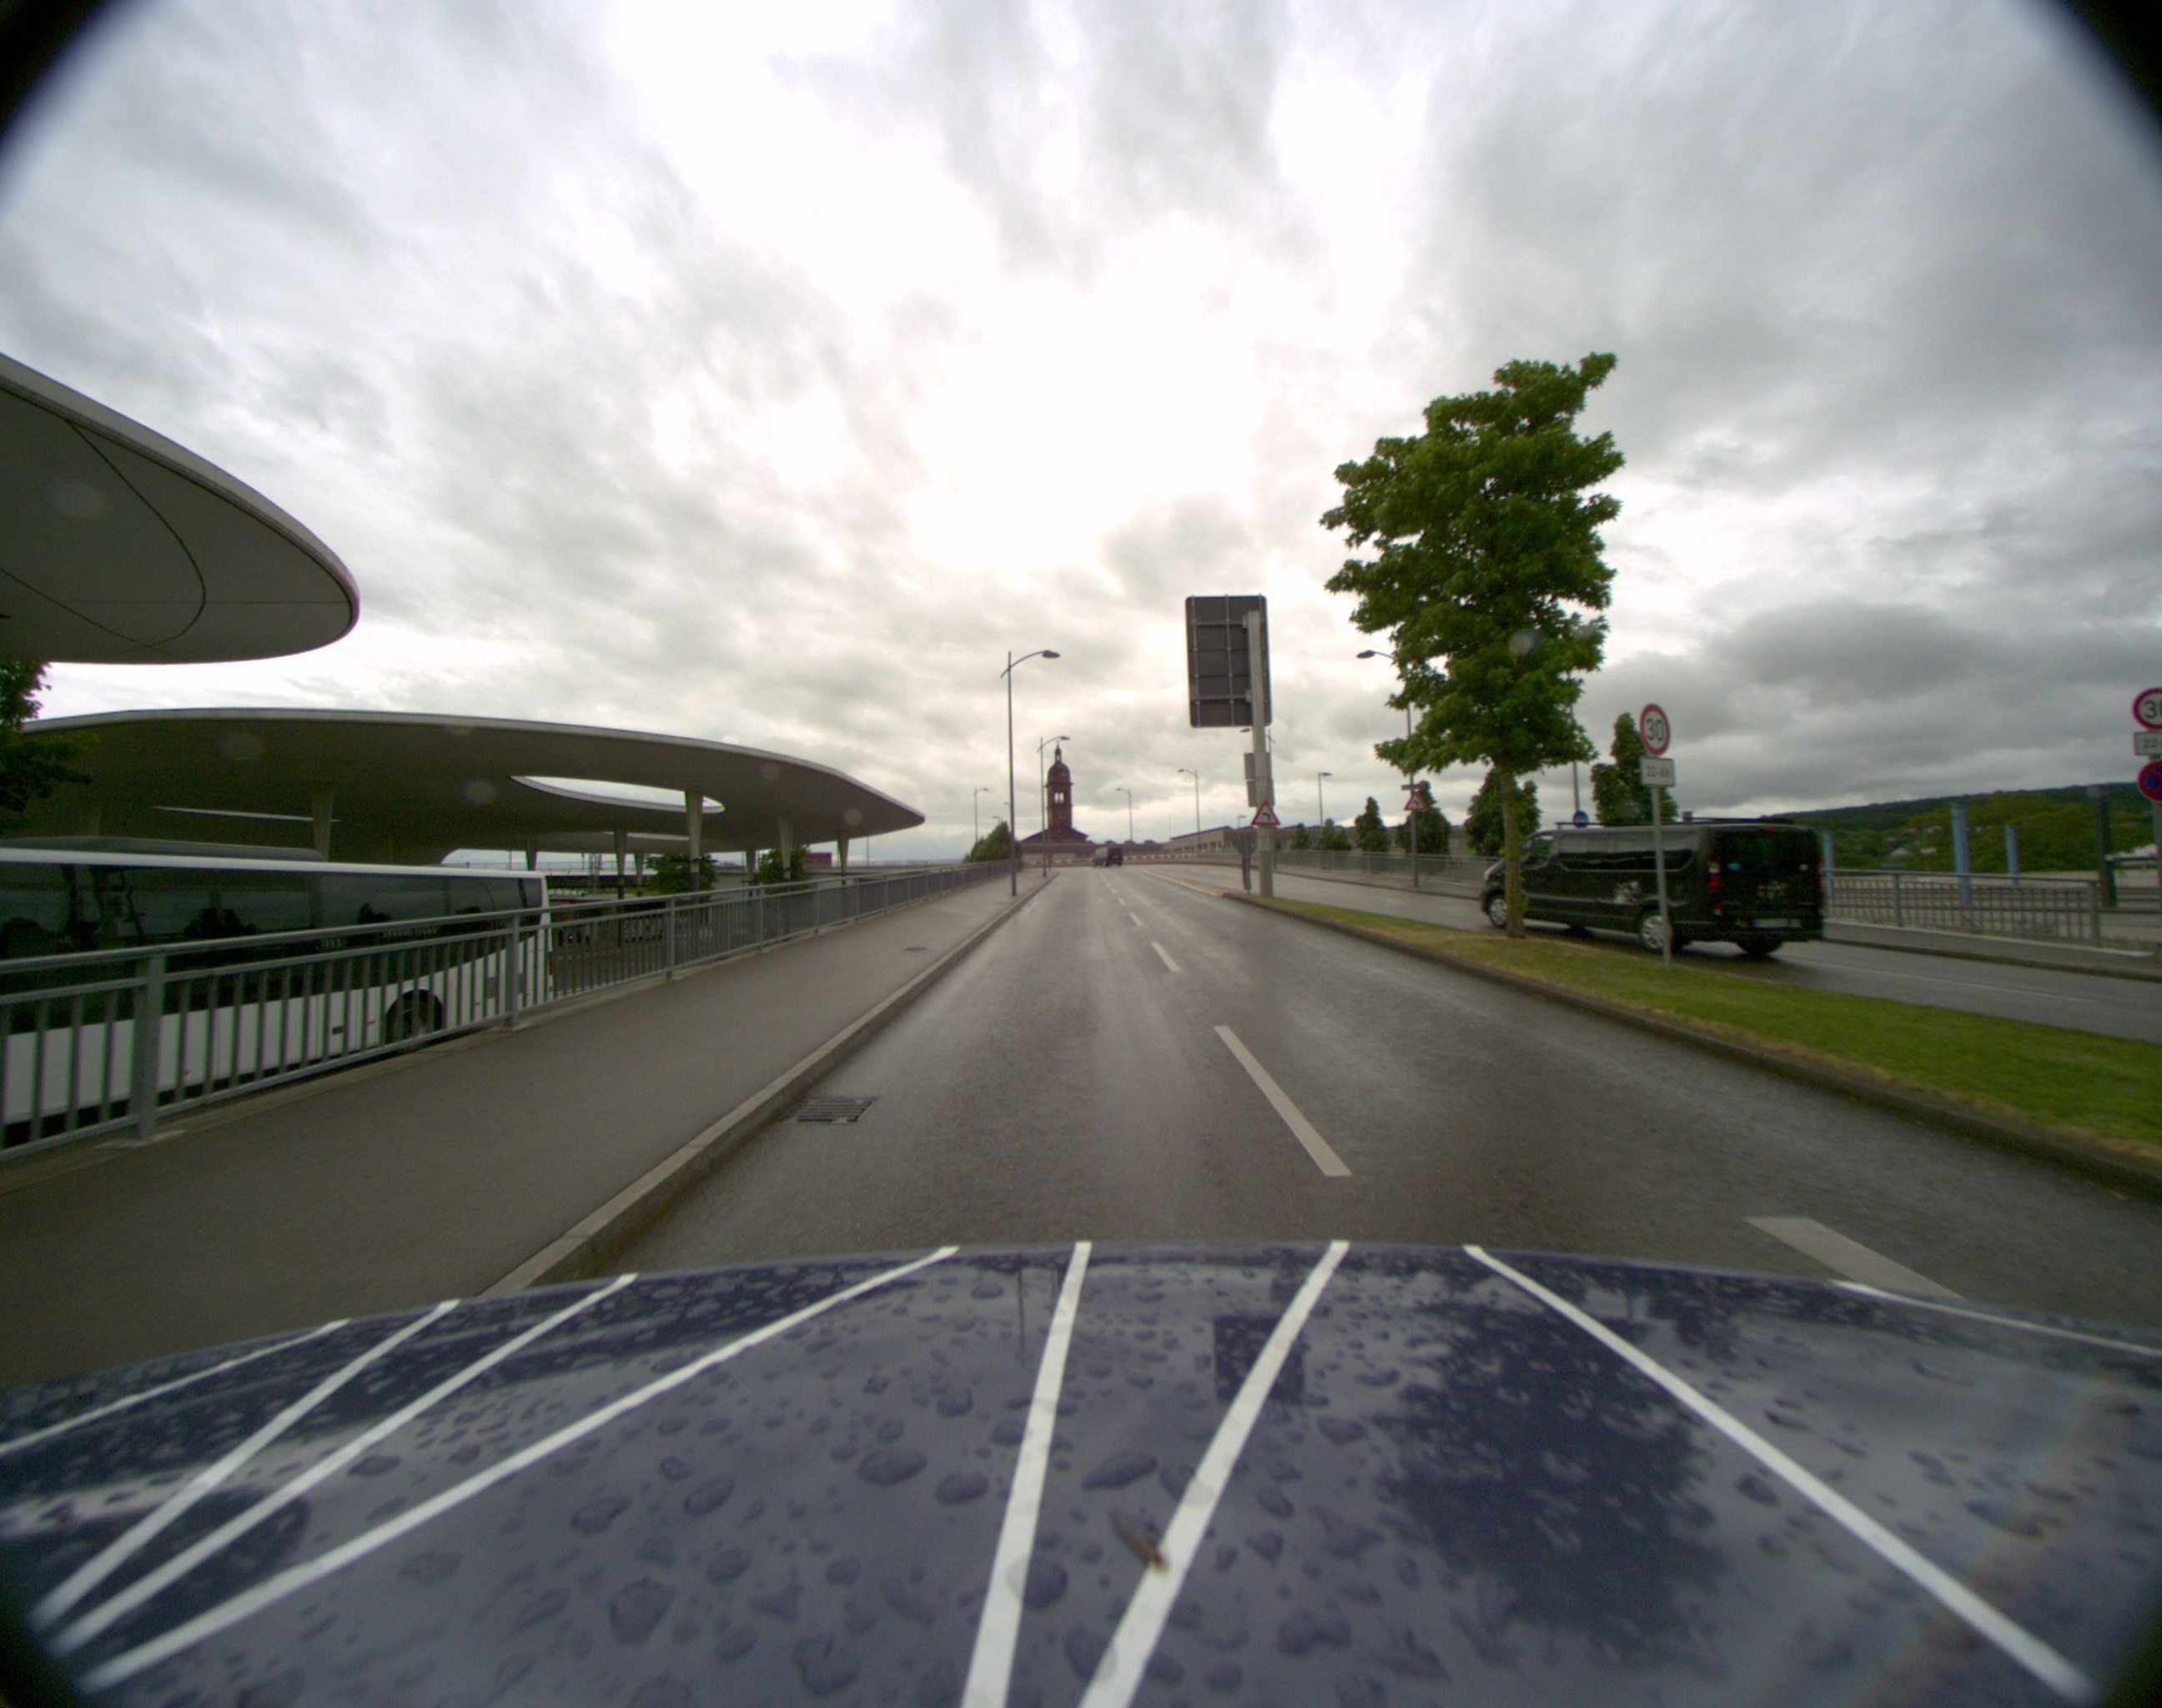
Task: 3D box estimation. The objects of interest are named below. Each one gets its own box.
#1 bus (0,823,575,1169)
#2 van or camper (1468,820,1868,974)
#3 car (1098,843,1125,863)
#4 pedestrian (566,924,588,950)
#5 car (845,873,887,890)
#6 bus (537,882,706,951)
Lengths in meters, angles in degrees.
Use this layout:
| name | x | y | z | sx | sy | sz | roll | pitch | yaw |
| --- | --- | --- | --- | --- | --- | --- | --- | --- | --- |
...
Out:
| name | x | y | z | sx | sy | sz | roll | pitch | yaw |
| --- | --- | --- | --- | --- | --- | --- | --- | --- | --- |
| bus | -11.897 | 1.574 | 9.336 | 2.852 | 3.340 | 12.433 | -4 | -3 | 0 |
| van or camper | 9.312 | 0.548 | 12.901 | 2.223 | 2.061 | 5.279 | 1 | 1 | -8 |
| car | 3.096 | -0.098 | 78.572 | 1.851 | 1.956 | 4.680 | -1 | 1 | -10 |
| pedestrian | -24.836 | 4.062 | 37.429 | 0.536 | 1.157 | 0.669 | -4 | 2 | -3 |
| car | -27.345 | 3.494 | 96.655 | 4.683 | 1.956 | 2.115 | -3 | -1 | -3 |
| bus | -31.176 | 4.067 | 52.599 | 2.794 | 3.239 | 12.144 | -4 | 1 | 7 |
